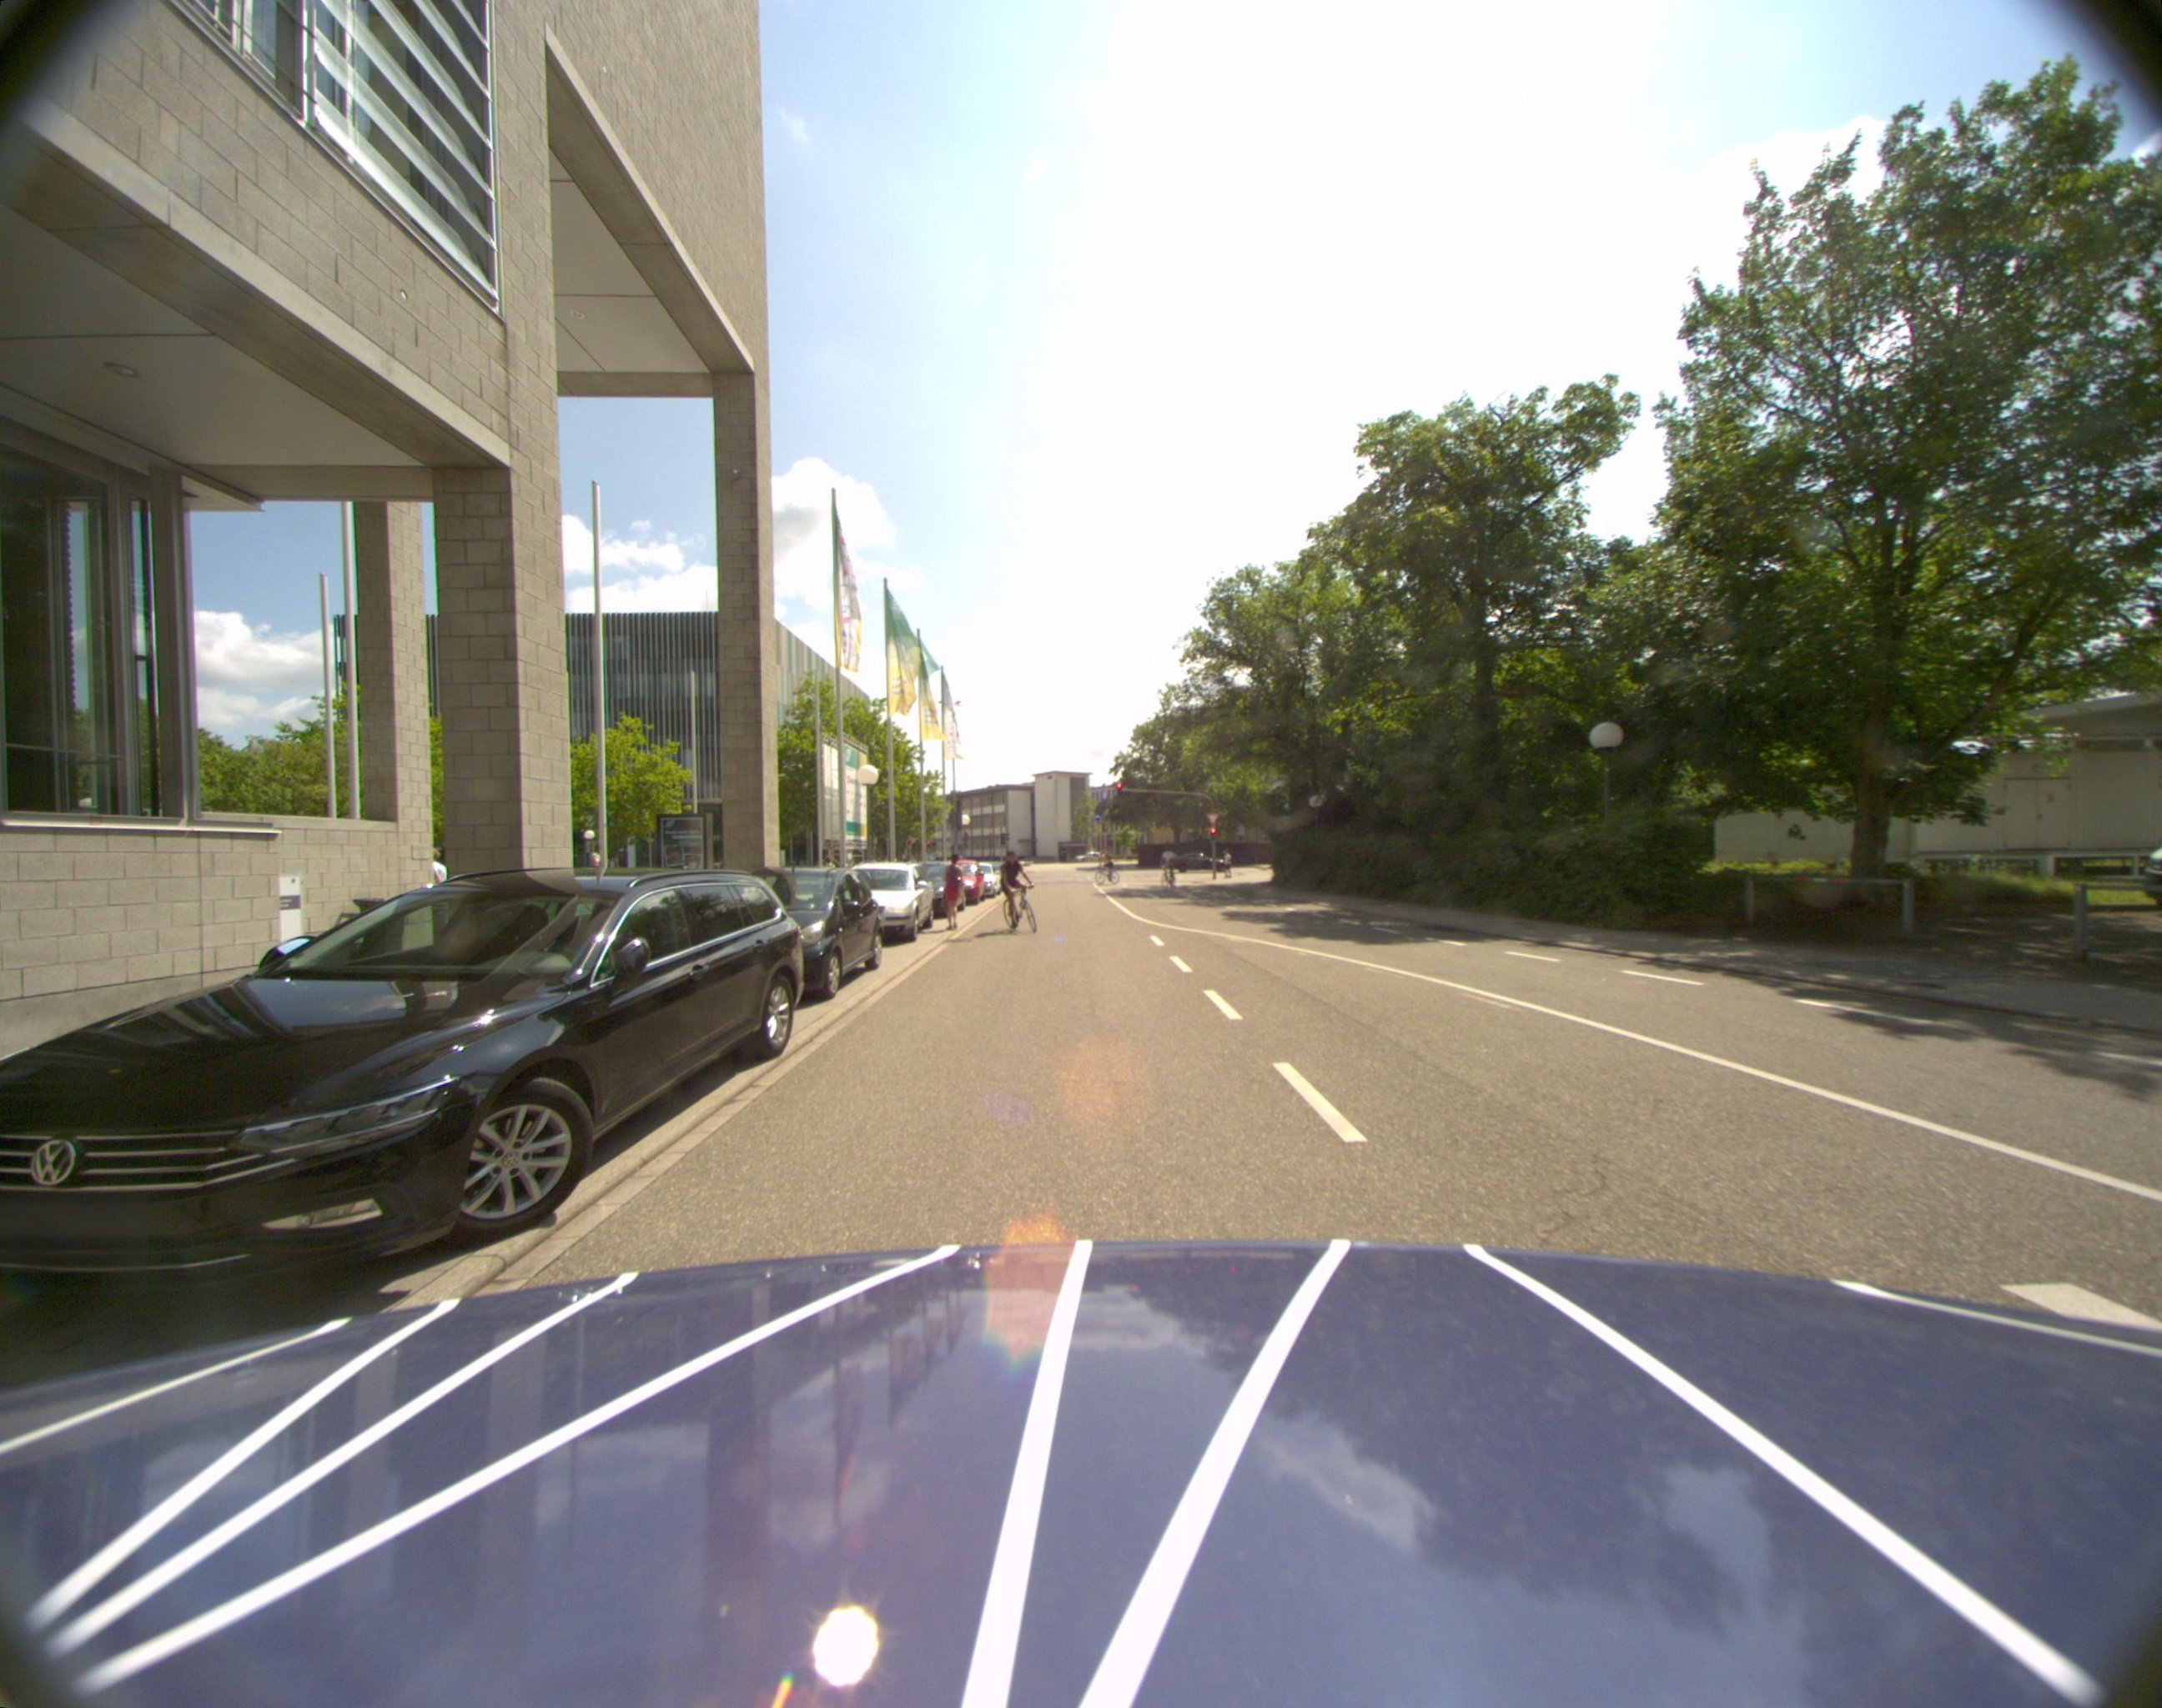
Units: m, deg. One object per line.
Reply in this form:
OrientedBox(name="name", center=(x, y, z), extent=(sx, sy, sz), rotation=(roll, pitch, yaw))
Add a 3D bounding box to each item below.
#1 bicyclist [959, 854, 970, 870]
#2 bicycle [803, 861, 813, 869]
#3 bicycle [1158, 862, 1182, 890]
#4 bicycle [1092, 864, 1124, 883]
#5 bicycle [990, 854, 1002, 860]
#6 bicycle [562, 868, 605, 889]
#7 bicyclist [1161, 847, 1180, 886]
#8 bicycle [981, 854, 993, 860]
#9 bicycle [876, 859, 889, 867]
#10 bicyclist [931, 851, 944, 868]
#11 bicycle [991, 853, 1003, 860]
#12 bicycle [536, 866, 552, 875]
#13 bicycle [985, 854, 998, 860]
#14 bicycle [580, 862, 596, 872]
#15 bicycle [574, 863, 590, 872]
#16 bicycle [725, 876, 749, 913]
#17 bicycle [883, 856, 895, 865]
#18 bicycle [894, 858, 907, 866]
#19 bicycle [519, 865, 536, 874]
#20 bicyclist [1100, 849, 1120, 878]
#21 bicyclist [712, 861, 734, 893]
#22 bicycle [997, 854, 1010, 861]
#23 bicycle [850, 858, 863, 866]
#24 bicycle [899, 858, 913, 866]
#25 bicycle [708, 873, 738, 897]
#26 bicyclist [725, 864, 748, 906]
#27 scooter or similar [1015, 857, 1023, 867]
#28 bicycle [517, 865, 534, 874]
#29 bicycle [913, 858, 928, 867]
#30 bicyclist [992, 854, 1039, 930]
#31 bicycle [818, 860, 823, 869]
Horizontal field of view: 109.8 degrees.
OrientedBox(name="bicyclist", center=(-11.371, 0.771, 74.107), extent=(0.787, 1.529, 0.656), rotation=(-2, 1, -26))
OrientedBox(name="bicycle", center=(-30.451, 1.220, 84.719), extent=(0.374, 0.950, 1.768), rotation=(-2, 2, -40))
OrientedBox(name="bicycle", center=(4.027, 0.969, 34.548), extent=(0.694, 1.164, 2.209), rotation=(-1, 1, -3))
OrientedBox(name="bicycle", center=(1.469, 1.067, 41.874), extent=(0.796, 0.983, 2.205), rotation=(-1, 1, -25))
OrientedBox(name="bicycle", center=(-12.479, 0.438, 111.575), extent=(1.776, 0.950, 0.527), rotation=(-1, 3, -30))
OrientedBox(name="bicycle", center=(-29.107, 1.442, 44.459), extent=(2.028, 1.176, 0.800), rotation=(-1, 2, 9))
OrientedBox(name="bicyclist", center=(4.047, 0.541, 34.494), extent=(0.694, 1.727, 0.918), rotation=(-1, 1, -3))
OrientedBox(name="bicycle", center=(-14.053, 0.469, 113.682), extent=(1.776, 0.950, 0.527), rotation=(-1, 3, -30))
OrientedBox(name="bicycle", center=(-23.355, 1.082, 89.363), extent=(1.768, 0.950, 0.530), rotation=(0, 2, 43))
OrientedBox(name="bicyclist", center=(-13.790, 0.498, 73.006), extent=(1.001, 1.606, 0.655), rotation=(-2, 1, -30))
OrientedBox(name="bicycle", center=(-12.234, 0.418, 110.580), extent=(1.776, 0.950, 0.527), rotation=(-1, 3, -30))
OrientedBox(name="bicycle", center=(-57.555, 1.773, 81.445), extent=(0.373, 0.950, 1.548), rotation=(0, 0, 14))
OrientedBox(name="bicycle", center=(-13.264, 0.457, 112.618), extent=(1.776, 0.950, 0.527), rotation=(-1, 3, -30))
OrientedBox(name="bicycle", center=(-53.100, 1.418, 81.868), extent=(0.373, 0.950, 1.547), rotation=(0, 2, 14))
OrientedBox(name="bicycle", center=(-53.789, 1.461, 81.899), extent=(0.373, 0.950, 1.547), rotation=(0, 2, 14))
OrientedBox(name="bicycle", center=(-11.123, 1.280, 24.529), extent=(0.609, 1.131, 1.584), rotation=(-1, -1, -27))
OrientedBox(name="bicycle", center=(-22.746, 0.759, 89.945), extent=(1.768, 0.950, 0.530), rotation=(0, 2, 43))
OrientedBox(name="bicycle", center=(-21.650, 0.940, 91.193), extent=(1.768, 0.950, 0.530), rotation=(0, 2, 36))
OrientedBox(name="bicycle", center=(-59.351, 1.670, 81.521), extent=(0.373, 0.950, 1.548), rotation=(0, 1, 14))
OrientedBox(name="bicyclist", center=(1.594, 0.501, 41.643), extent=(0.696, 1.539, 1.016), rotation=(-1, 1, -25))
OrientedBox(name="bicyclist", center=(-17.748, 1.142, 37.644), extent=(0.682, 1.559, 0.879), rotation=(-1, 0, -2))
OrientedBox(name="bicycle", center=(-11.212, 0.443, 109.662), extent=(1.776, 0.950, 0.528), rotation=(-1, 3, -27))
OrientedBox(name="bicycle", center=(-26.000, 0.930, 87.960), extent=(0.530, 0.950, 1.768), rotation=(-6, 5, -45))
OrientedBox(name="bicycle", center=(-21.092, 0.950, 91.548), extent=(1.768, 0.950, 0.530), rotation=(0, 2, 36))
OrientedBox(name="bicycle", center=(-17.748, 1.524, 37.695), extent=(0.682, 1.131, 1.692), rotation=(-1, -1, -2))
OrientedBox(name="bicyclist", center=(-11.136, 0.986, 24.544), extent=(0.609, 1.312, 0.741), rotation=(-1, 0, -28))
OrientedBox(name="scooter or similar", center=(-6.389, 0.815, 78.121), extent=(0.403, 1.060, 1.148), rotation=(-2, 1, -29))
OrientedBox(name="bicycle", center=(-59.744, 1.650, 81.687), extent=(0.373, 0.950, 1.548), rotation=(0, 2, 14))
OrientedBox(name="bicycle", center=(-17.694, 0.913, 83.611), extent=(1.768, 0.950, 0.530), rotation=(0, 2, 36))
OrientedBox(name="bicyclist", center=(-1.420, 0.794, 16.353), extent=(0.664, 1.555, 0.931), rotation=(-1, 1, -30))
OrientedBox(name="bicycle", center=(-29.322, 1.135, 85.494), extent=(0.529, 0.950, 1.770), rotation=(-1, 1, -21))
